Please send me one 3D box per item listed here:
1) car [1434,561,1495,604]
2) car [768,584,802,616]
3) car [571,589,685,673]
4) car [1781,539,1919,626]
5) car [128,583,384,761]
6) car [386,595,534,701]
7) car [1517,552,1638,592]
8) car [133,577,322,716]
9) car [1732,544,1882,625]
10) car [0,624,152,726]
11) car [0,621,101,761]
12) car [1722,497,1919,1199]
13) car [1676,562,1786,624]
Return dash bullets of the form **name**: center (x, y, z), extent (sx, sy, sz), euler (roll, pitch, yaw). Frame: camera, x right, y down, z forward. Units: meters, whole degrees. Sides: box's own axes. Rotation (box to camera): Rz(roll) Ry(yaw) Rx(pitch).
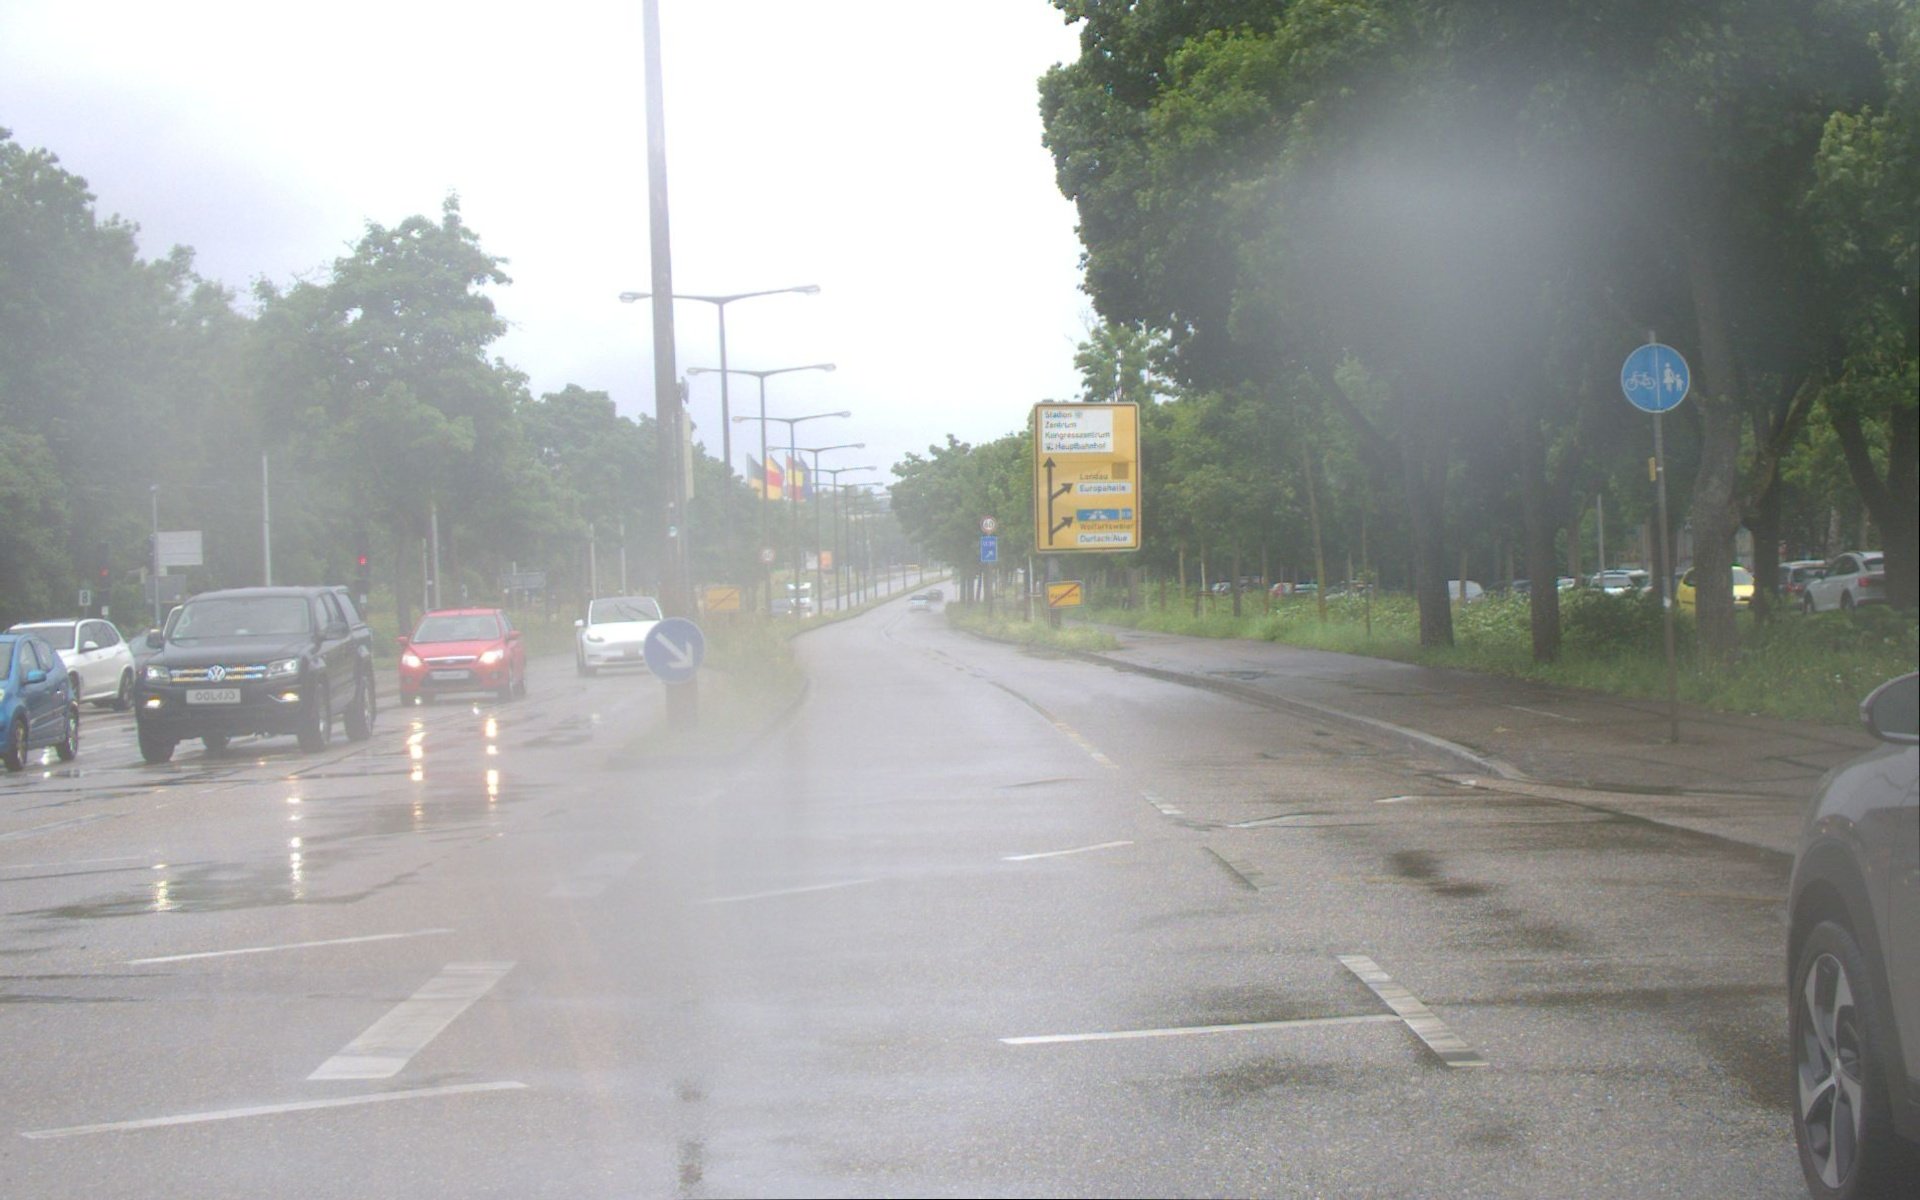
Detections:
- **car**: center (18.787, -0.679, 128.143), extent (1.745, 1.440, 4.122), euler (-2, 2, 2)
- **car**: center (-9.958, -0.008, 196.029), extent (1.743, 1.644, 4.136), euler (-4, 0, -2)
- **car**: center (-6.956, 0.623, 72.469), extent (1.961, 1.611, 4.697), euler (-2, 0, -1)
- **car**: center (18.940, -0.349, 72.166), extent (1.993, 1.711, 4.879), euler (-2, 0, -3)
- **car**: center (-7.749, 0.739, 38.324), extent (1.805, 1.767, 5.089), euler (-3, 0, -1)
- **car**: center (-8.112, 0.775, 56.086), extent (1.801, 1.564, 4.429), euler (-3, -1, -1)
- **car**: center (25.722, -1.148, 143.339), extent (4.569, 1.639, 2.000), euler (0, 0, -6)
- **car**: center (-11.453, 0.682, 54.080), extent (1.929, 2.011, 4.743), euler (-2, 0, 0)
- **car**: center (19.116, -0.333, 77.787), extent (1.993, 1.711, 4.642), euler (-2, 0, -3)
- **car**: center (-16.612, 1.366, 64.387), extent (1.993, 1.821, 4.772), euler (0, 0, -2)
- **car**: center (-10.616, 0.996, 37.366), extent (1.641, 1.422, 4.000), euler (-4, 0, -3)
- **car**: center (2.811, 0.622, 6.225), extent (1.884, 1.605, 4.196), euler (1, 1, 0)
- **car**: center (19.157, -0.157, 85.541), extent (1.637, 1.481, 4.073), euler (0, 0, -3)
